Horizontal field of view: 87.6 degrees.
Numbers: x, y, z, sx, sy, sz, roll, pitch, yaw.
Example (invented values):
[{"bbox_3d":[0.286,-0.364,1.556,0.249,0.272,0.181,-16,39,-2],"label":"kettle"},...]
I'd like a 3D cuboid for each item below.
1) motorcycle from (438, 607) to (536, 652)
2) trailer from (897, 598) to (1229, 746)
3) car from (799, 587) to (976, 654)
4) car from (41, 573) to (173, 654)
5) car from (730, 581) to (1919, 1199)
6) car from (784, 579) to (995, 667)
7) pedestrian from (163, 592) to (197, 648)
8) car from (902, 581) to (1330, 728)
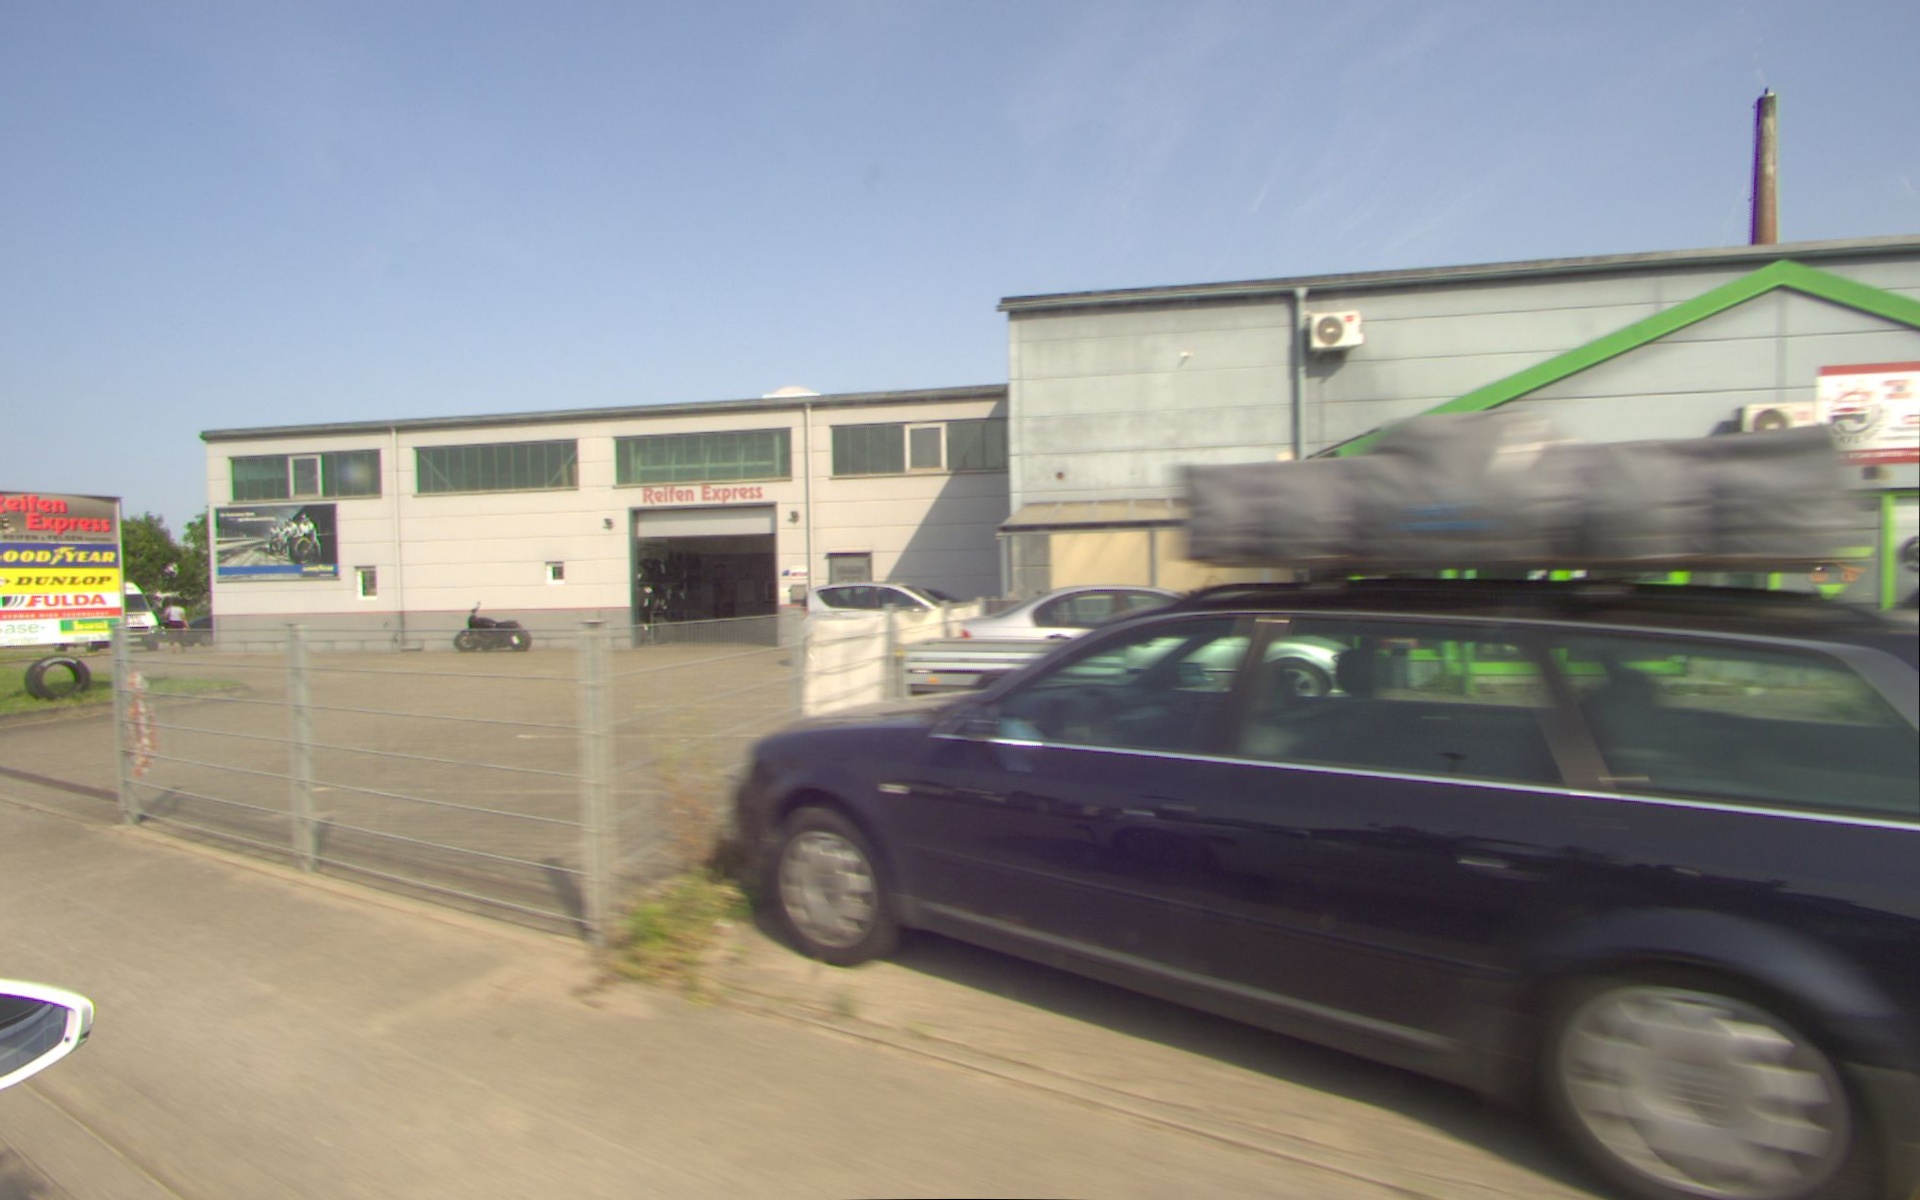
[{"bbox_3d":[-12.139,0.756,25.724,2.160,1.109,0.803,-1,1,9],"label":"motorcycle"},{"bbox_3d":[0.997,0.633,9.558,2.921,1.264,1.494,0,-1,11],"label":"trailer"},{"bbox_3d":[-1.587,0.456,22.484,3.641,1.421,1.680,-1,1,11],"label":"car"},{"bbox_3d":[-30.867,0.474,36.188,5.797,2.742,1.969,-1,1,33],"label":"car"},{"bbox_3d":[1.284,0.659,3.430,4.338,1.387,1.667,-1,1,38],"label":"car"},{"bbox_3d":[-1.314,0.436,19.314,3.734,1.589,1.638,-1,1,11],"label":"car"},{"bbox_3d":[-23.857,0.606,30.630,0.695,1.662,0.744,-1,1,-32],"label":"pedestrian"},{"bbox_3d":[1.676,0.572,11.211,4.375,1.485,1.644,-1,1,9],"label":"car"}]
